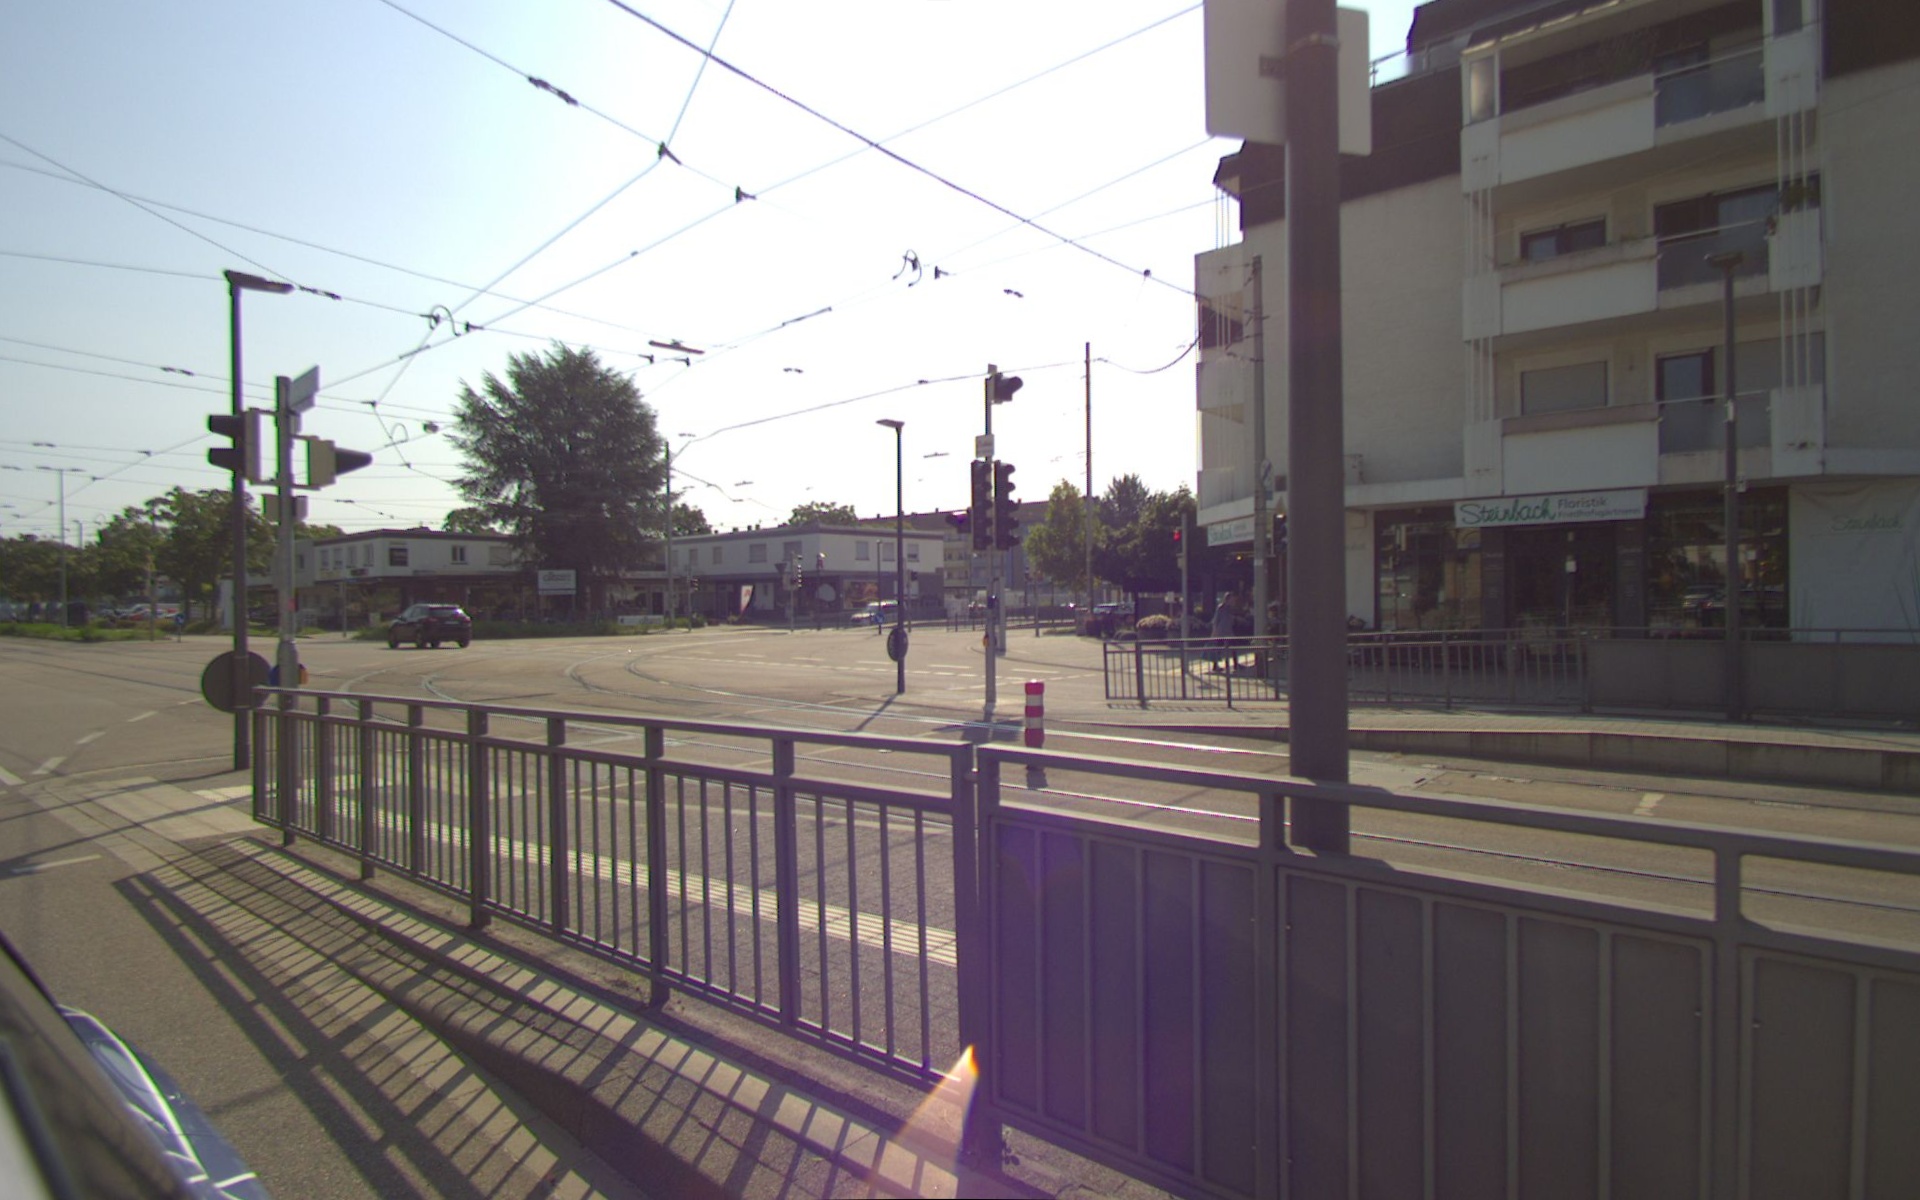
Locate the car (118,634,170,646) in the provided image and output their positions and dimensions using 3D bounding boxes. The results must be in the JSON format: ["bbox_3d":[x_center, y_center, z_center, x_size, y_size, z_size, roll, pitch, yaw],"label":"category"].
[{"bbox_3d":[-98.491,4.836,122.226,1.631,1.461,4.607,-1,-2,39],"label":"car"}]

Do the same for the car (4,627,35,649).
[{"bbox_3d":[-112.162,4.485,120.710,5.628,2.606,2.110,-1,-2,41],"label":"car"}]

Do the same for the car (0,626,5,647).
[{"bbox_3d":[-130.717,4.943,136.413,7.227,2.826,2.102,-1,-2,41],"label":"car"}]

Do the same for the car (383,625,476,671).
[{"bbox_3d":[-20.761,1.835,39.519,4.246,1.667,1.794,-1,-2,41],"label":"car"}]

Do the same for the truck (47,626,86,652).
[{"bbox_3d":[-89.011,3.834,100.802,5.734,2.567,2.060,-1,-2,40],"label":"truck"}]

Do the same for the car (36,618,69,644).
[{"bbox_3d":[-96.502,3.299,107.604,6.466,2.605,1.967,-1,0,42],"label":"car"}]

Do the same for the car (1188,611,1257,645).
[{"bbox_3d":[13.483,1.411,51.856,1.928,1.518,4.069,-1,0,39],"label":"car"}]

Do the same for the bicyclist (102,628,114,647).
[{"bbox_3d":[-68.386,3.030,81.220,0.487,1.534,0.564,-1,-2,28],"label":"bicyclist"}]

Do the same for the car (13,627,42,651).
[{"bbox_3d":[-105.799,4.407,114.812,5.907,2.605,1.803,-2,0,42],"label":"car"}]

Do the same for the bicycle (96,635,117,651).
[{"bbox_3d":[-68.595,3.471,81.316,2.198,1.189,0.571,-3,-3,29],"label":"bicycle"}]

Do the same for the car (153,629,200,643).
[{"bbox_3d":[-86.672,3.969,111.963,1.631,1.530,3.884,-1,-2,39],"label":"car"}]

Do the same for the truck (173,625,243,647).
[{"bbox_3d":[-78.445,3.722,105.635,2.257,2.189,5.435,-1,-2,39],"label":"truck"}]

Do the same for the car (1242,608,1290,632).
[{"bbox_3d":[20.082,1.338,66.389,1.671,1.492,3.866,-1,-2,39],"label":"car"}]

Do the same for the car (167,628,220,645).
[{"bbox_3d":[-84.008,3.998,111.002,1.631,1.798,4.355,-1,-2,39],"label":"car"}]

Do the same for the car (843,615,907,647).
[{"bbox_3d":[-5.530,2.006,66.054,1.823,1.900,3.971,-2,0,42],"label":"car"}]

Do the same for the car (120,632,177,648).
[{"bbox_3d":[-100.165,4.878,124.929,2.050,1.940,5.134,-1,-2,39],"label":"car"}]

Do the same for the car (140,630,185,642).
[{"bbox_3d":[-94.100,4.248,119.408,1.631,1.461,3.884,-1,-2,39],"label":"car"}]

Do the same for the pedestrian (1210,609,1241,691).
[{"bbox_3d":[5.822,1.090,22.203,0.559,1.758,0.599,0,-2,7],"label":"pedestrian"}]

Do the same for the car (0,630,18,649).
[{"bbox_3d":[-123.200,5.050,130.252,4.827,2.477,2.121,-1,-2,39],"label":"car"}]

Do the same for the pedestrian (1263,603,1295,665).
[{"bbox_3d":[9.232,0.982,29.274,0.697,1.754,0.673,-1,-2,38],"label":"pedestrian"}]
